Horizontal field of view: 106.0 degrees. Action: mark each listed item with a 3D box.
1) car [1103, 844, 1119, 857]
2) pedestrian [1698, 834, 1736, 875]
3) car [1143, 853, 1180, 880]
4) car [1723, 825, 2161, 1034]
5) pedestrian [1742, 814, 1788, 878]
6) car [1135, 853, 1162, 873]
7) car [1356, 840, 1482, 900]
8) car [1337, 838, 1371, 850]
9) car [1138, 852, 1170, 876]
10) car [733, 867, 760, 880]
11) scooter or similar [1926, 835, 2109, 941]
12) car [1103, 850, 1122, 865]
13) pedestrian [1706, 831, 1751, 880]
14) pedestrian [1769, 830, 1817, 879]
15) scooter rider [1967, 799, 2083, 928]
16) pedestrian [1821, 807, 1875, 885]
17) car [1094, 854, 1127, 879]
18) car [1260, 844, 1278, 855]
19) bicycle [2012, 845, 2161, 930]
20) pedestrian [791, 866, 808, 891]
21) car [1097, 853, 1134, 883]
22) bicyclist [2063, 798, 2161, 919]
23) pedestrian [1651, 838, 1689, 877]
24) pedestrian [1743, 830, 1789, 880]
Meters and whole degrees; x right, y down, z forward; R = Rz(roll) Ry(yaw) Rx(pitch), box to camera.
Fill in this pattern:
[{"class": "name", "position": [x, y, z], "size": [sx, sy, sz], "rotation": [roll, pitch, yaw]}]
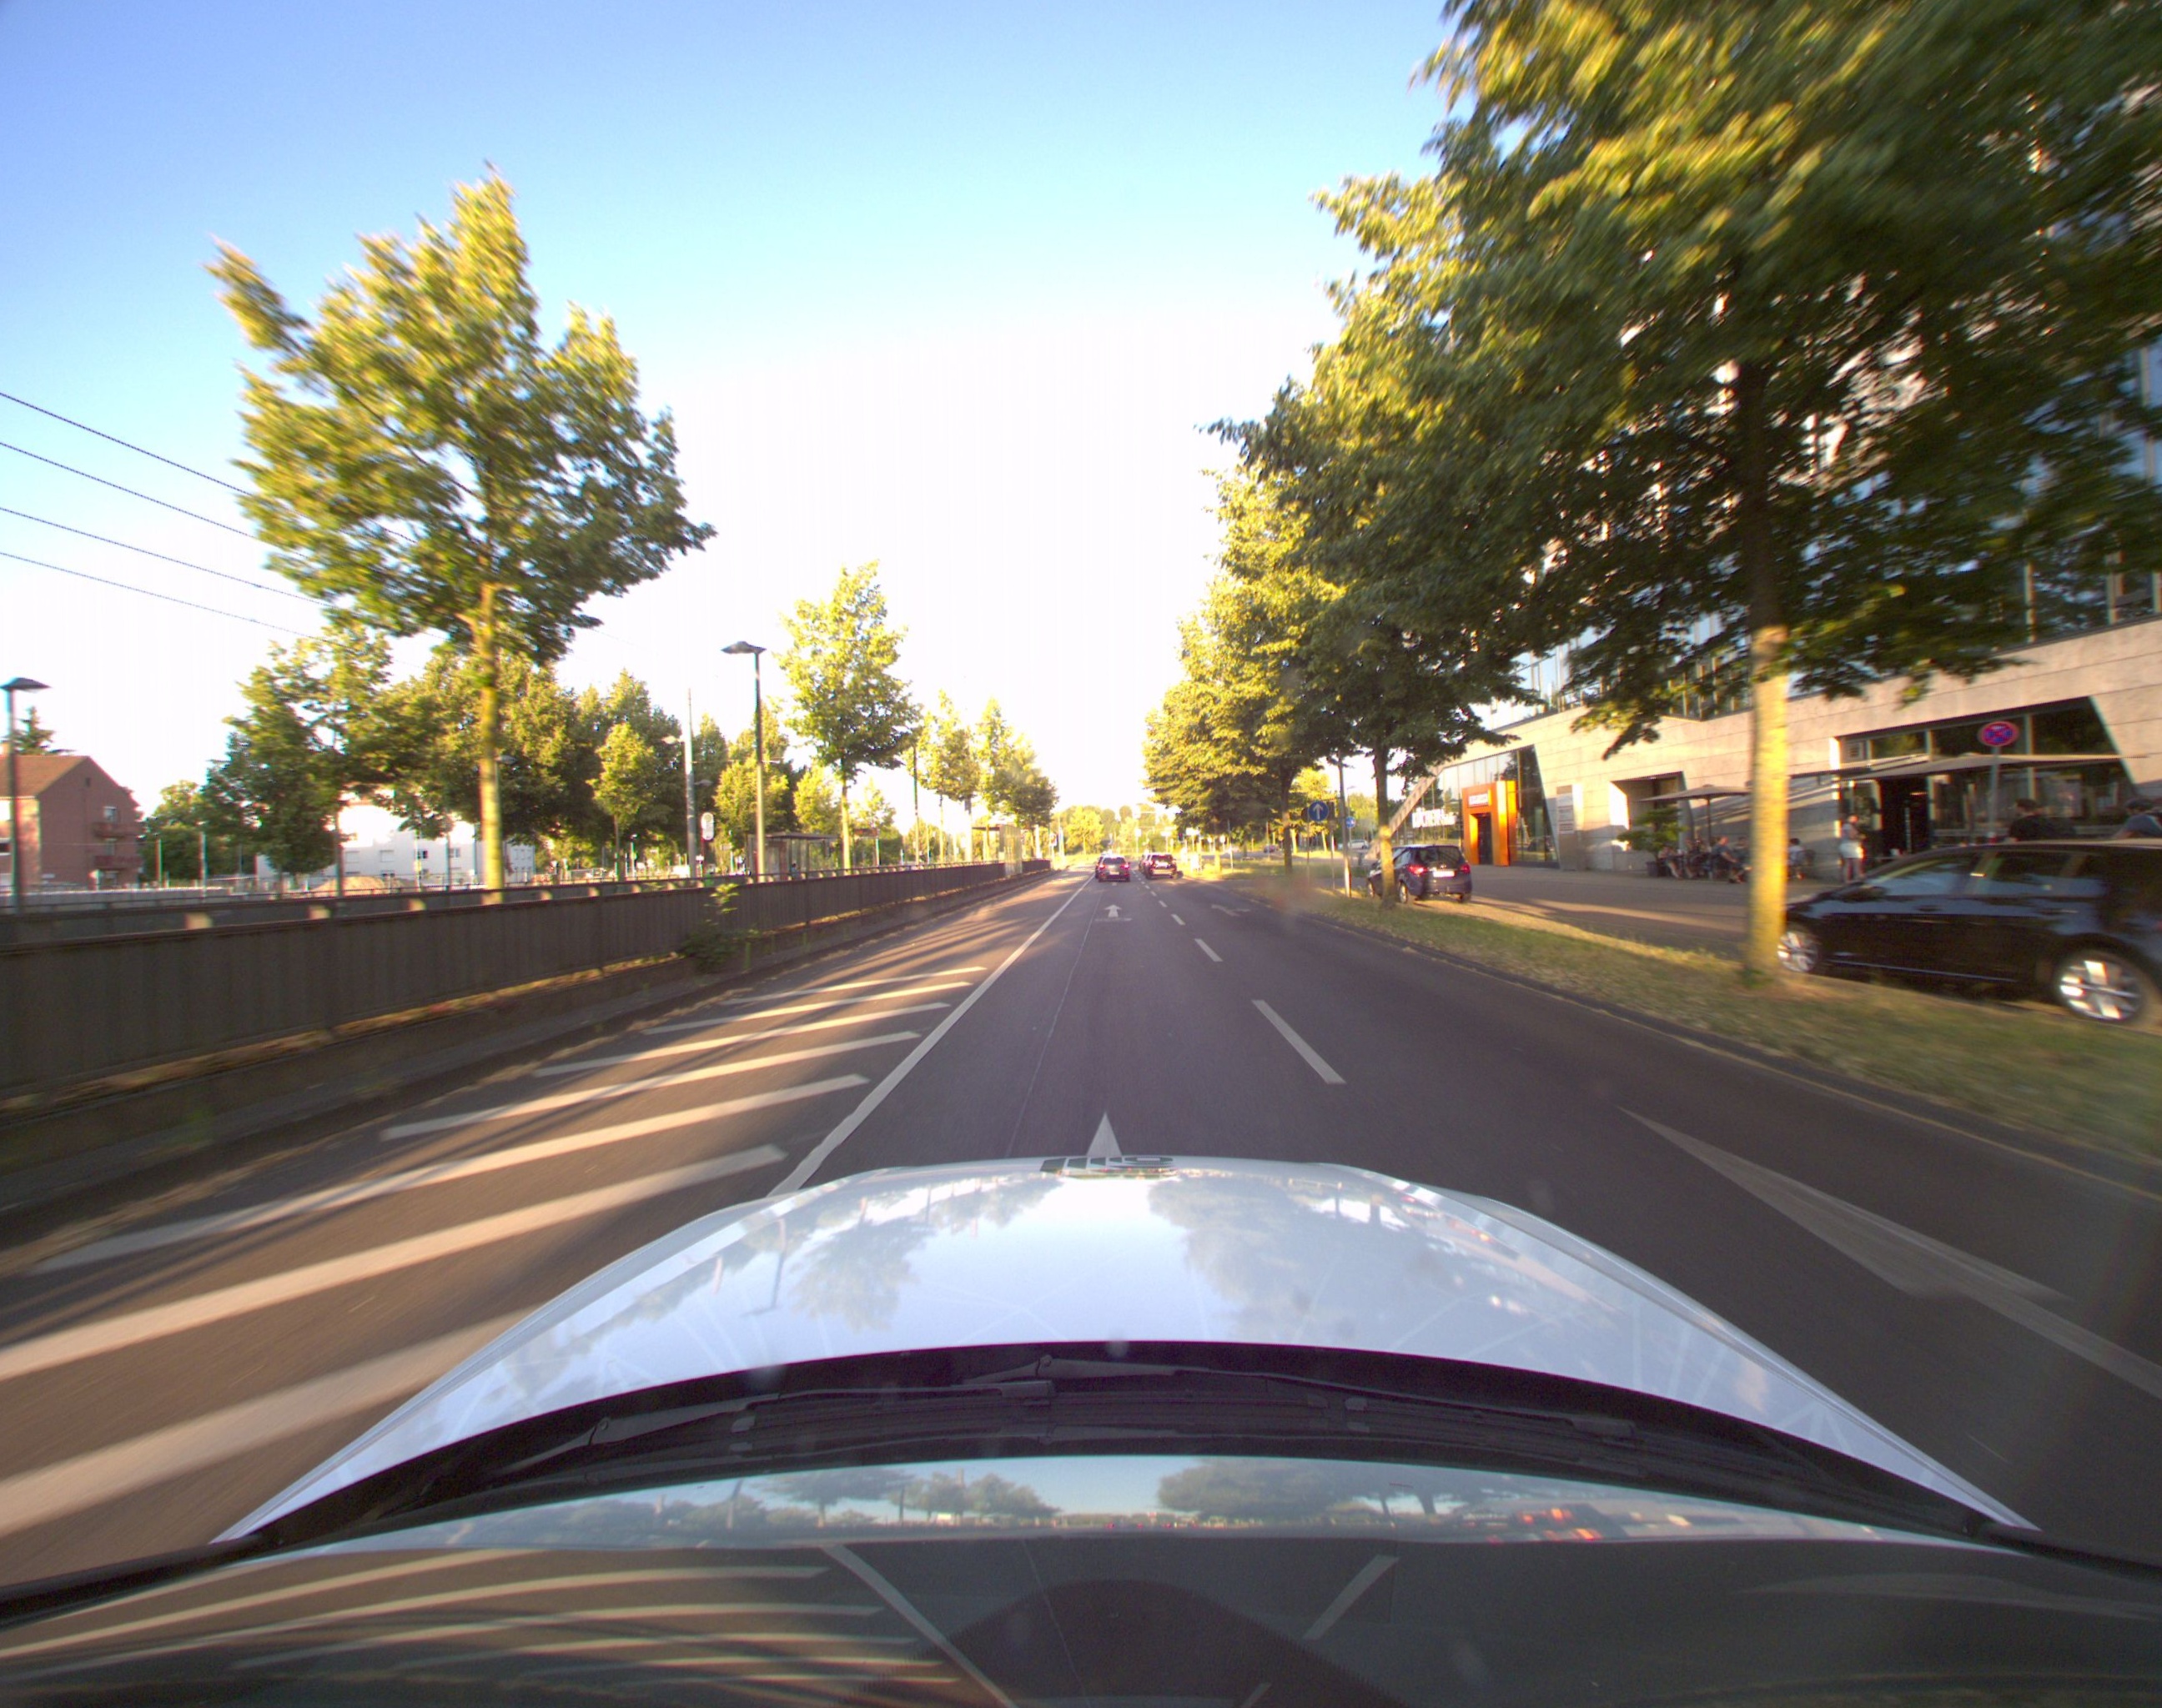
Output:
[{"class": "car", "position": [3.791, -0.428, 103.162], "size": [1.905, 1.486, 4.001], "rotation": [-2, 0, 2]}, {"class": "pedestrian", "position": [18.988, 0.009, 24.324], "size": [0.618, 1.186, 0.713], "rotation": [-2, 0, -35]}, {"class": "car", "position": [4.826, 0.704, 49.101], "size": [1.905, 1.486, 4.001], "rotation": [-2, 0, 2]}, {"class": "car", "position": [8.609, 0.513, 7.655], "size": [1.772, 1.472, 4.288], "rotation": [-2, 0, 0]}, {"class": "pedestrian", "position": [18.957, -0.217, 22.574], "size": [0.635, 1.718, 0.695], "rotation": [-2, 0, -18]}, {"class": "car", "position": [5.453, 0.694, 66.419], "size": [1.905, 1.486, 4.001], "rotation": [-2, 0, 2]}, {"class": "car", "position": [9.297, 0.410, 22.771], "size": [1.751, 1.466, 4.158], "rotation": [-2, 0, 0]}, {"class": "car", "position": [39.264, -1.388, 117.192], "size": [4.402, 1.486, 1.922], "rotation": [-2, 0, 7]}, {"class": "car", "position": [5.013, 0.671, 56.397], "size": [1.905, 1.486, 4.001], "rotation": [-2, 0, 2]}, {"class": "car", "position": [-46.798, 2.733, 114.004], "size": [1.986, 1.662, 4.002], "rotation": [-2, 0, 2]}, {"class": "scooter or similar", "position": [12.591, 0.428, 11.027], "size": [0.524, 1.310, 1.664], "rotation": [-2, 0, 0]}, {"class": "car", "position": [3.378, 0.361, 87.173], "size": [1.905, 1.486, 4.001], "rotation": [-2, 0, 2]}, {"class": "pedestrian", "position": [17.573, 0.031, 22.107], "size": [0.627, 1.282, 0.712], "rotation": [-2, 0, -19]}, {"class": "pedestrian", "position": [19.022, 0.012, 21.770], "size": [0.580, 1.282, 0.735], "rotation": [-2, 0, -16]}, {"class": "scooter rider", "position": [12.576, 0.119, 10.874], "size": [0.524, 1.638, 0.832], "rotation": [-2, 0, 0]}, {"class": "pedestrian", "position": [17.697, -0.183, 18.796], "size": [0.707, 1.737, 0.683], "rotation": [-2, 0, -28]}, {"class": "car", "position": [1.863, 0.761, 51.786], "size": [1.905, 1.486, 4.001], "rotation": [-2, 0, 2]}, {"class": "car", "position": [33.738, -0.806, 145.734], "size": [1.974, 1.728, 4.025], "rotation": [-2, 0, 30]}, {"class": "bicycle", "position": [14.429, 0.431, 11.235], "size": [0.769, 1.079, 2.063], "rotation": [-2, 0, 0]}, {"class": "pedestrian", "position": [-15.257, 1.307, 44.080], "size": [0.613, 1.319, 0.744], "rotation": [-2, 0, -1]}, {"class": "car", "position": [1.890, 0.749, 45.475], "size": [1.905, 1.486, 4.001], "rotation": [-2, 0, 2]}, {"class": "bicyclist", "position": [14.409, 0.041, 11.116], "size": [0.769, 1.566, 0.992], "rotation": [-2, 0, 0]}, {"class": "pedestrian", "position": [18.348, 0.110, 25.388], "size": [0.569, 1.186, 0.862], "rotation": [-2, 0, 3]}, {"class": "pedestrian", "position": [18.294, 0.024, 21.764], "size": [0.577, 1.282, 0.738], "rotation": [-2, 0, -2]}]
